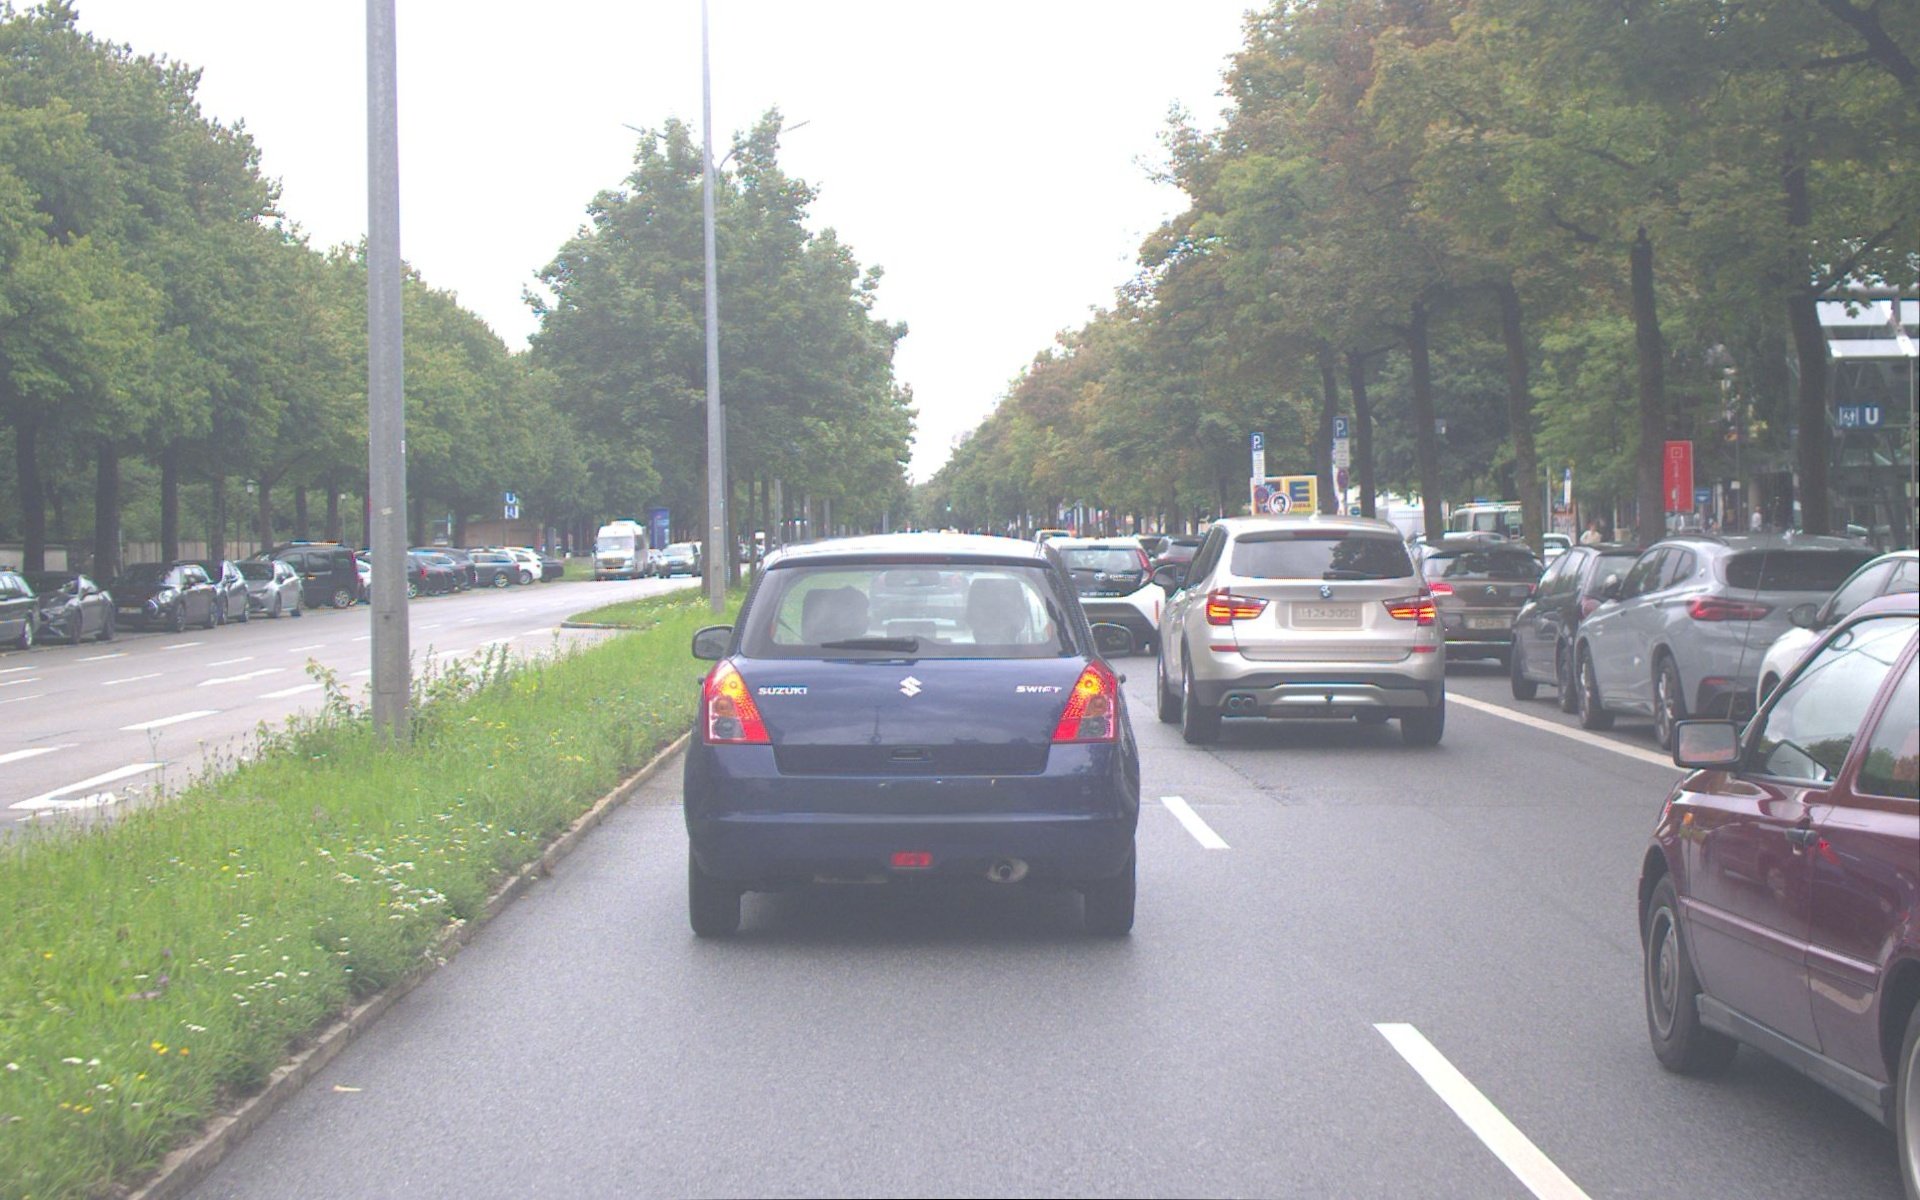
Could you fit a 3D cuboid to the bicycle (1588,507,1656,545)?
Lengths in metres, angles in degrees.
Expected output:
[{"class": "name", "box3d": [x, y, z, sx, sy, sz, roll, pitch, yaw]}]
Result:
[{"class": "bicycle", "box3d": [27.097, -3.046, 140.782, 2.609, 1.502, 0.798, -1, 1, -6]}]

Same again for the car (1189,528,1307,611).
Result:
[{"class": "car", "box3d": [5.186, -0.573, 62.313, 1.653, 1.429, 4.483, -1, 1, -1]}]

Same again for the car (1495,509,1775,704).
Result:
[{"class": "car", "box3d": [5.906, 0.013, 30.513, 1.542, 1.529, 4.091, 3, 1, -1]}]

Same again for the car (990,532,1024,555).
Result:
[{"class": "car", "box3d": [2.887, -3.508, 212.946, 1.850, 1.442, 4.098, -1, 1, -2]}]

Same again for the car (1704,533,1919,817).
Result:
[{"class": "car", "box3d": [5.884, 0.356, 20.682, 1.702, 1.503, 4.504, -1, 1, -2]}]

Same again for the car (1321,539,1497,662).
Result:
[{"class": "car", "box3d": [5.636, -0.034, 43.560, 1.634, 1.448, 4.078, -1, 1, -1]}]

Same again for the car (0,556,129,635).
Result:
[{"class": "car", "box3d": [-17.171, -0.118, 65.360, 1.659, 1.391, 4.707, 0, 1, -1]}]

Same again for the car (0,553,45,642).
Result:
[{"class": "car", "box3d": [-17.316, -0.041, 59.313, 1.799, 1.485, 4.915, 0, 1, -1]}]

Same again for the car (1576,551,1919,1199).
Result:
[{"class": "car", "box3d": [2.687, 0.621, 8.249, 1.622, 1.449, 3.950, -1, 1, -1]}]

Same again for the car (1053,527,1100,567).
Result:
[{"class": "car", "box3d": [4.507, -2.057, 133.451, 1.684, 1.520, 4.456, 1, 1, 0]}]

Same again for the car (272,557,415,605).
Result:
[{"class": "car", "box3d": [-19.074, -0.596, 106.426, 4.031, 1.377, 1.674, -2, 1, -36]}]

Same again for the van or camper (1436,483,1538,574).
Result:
[{"class": "van or camper", "box3d": [15.369, -2.096, 100.528, 1.993, 2.549, 5.957, -1, 1, 0]}]

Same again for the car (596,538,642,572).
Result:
[{"class": "car", "box3d": [-16.366, -2.180, 165.085, 1.913, 1.537, 4.188, -1, 1, -2]}]

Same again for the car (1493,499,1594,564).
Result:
[{"class": "car", "box3d": [15.617, -1.839, 92.148, 1.993, 1.645, 4.000, -1, 1, 0]}]

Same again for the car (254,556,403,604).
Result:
[{"class": "car", "box3d": [-19.003, -0.612, 103.504, 3.988, 1.349, 1.850, -2, 1, -35]}]

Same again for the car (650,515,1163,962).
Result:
[{"class": "car", "box3d": [-0.261, 0.448, 14.135, 1.789, 1.550, 4.001, -1, 1, -2]}]

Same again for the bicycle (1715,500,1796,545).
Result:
[{"class": "bicycle", "box3d": [27.564, -2.682, 119.116, 2.609, 1.502, 0.798, -1, 1, -14]}]

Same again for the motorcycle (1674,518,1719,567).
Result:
[{"class": "motorcycle", "box3d": [20.601, -1.620, 96.172, 0.696, 1.286, 2.066, -5, 1, -1]}]

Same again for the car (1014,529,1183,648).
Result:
[{"class": "car", "box3d": [1.739, -0.184, 44.434, 1.850, 1.442, 4.098, -1, 1, -2]}]

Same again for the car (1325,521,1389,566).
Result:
[{"class": "car", "box3d": [14.837, -2.112, 128.707, 1.684, 1.627, 4.499, -1, 1, -2]}]

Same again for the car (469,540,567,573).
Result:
[{"class": "car", "box3d": [-20.111, -1.976, 156.361, 4.095, 1.469, 1.705, -1, 1, -34]}]

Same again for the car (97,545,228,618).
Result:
[{"class": "car", "box3d": [-17.078, -0.420, 73.782, 1.571, 1.498, 4.303, 0, 1, 3]}]

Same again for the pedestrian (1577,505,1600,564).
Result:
[{"class": "pedestrian", "box3d": [18.866, -1.972, 103.157, 0.575, 1.745, 0.732, -1, 1, 4]}]

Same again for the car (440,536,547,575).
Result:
[{"class": "car", "box3d": [-19.975, -1.903, 147.385, 4.095, 1.579, 1.919, -2, 1, -34]}]

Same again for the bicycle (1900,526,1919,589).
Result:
[{"class": "bicycle", "box3d": [17.726, -0.761, 59.865, 2.542, 1.085, 0.647, -1, 1, 0]}]

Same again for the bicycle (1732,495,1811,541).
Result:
[{"class": "bicycle", "box3d": [27.387, -2.779, 116.039, 2.609, 1.502, 0.798, -2, 1, -22]}]

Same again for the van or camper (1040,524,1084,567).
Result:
[{"class": "van or camper", "box3d": [4.775, -2.554, 161.147, 1.944, 1.968, 4.306, -1, 1, 0]}]

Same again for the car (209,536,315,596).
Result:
[{"class": "car", "box3d": [-17.428, -0.875, 86.069, 1.636, 1.434, 4.809, 0, 1, 1]}]

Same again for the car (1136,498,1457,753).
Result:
[{"class": "car", "box3d": [2.440, 0.133, 25.870, 1.850, 1.737, 4.098, -1, 1, -2]}]

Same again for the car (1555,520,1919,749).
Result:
[{"class": "car", "box3d": [5.671, 0.189, 25.381, 1.720, 1.529, 4.399, 0, 1, -1]}]

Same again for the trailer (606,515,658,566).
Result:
[{"class": "trailer", "box3d": [-16.637, -3.022, 174.478, 2.106, 2.531, 5.577, -1, 1, 0]}]

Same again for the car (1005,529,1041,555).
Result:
[{"class": "car", "box3d": [3.615, -3.360, 199.100, 1.850, 1.442, 4.098, -1, 1, -2]}]

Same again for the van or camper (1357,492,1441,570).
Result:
[{"class": "van or camper", "box3d": [14.921, -2.351, 117.222, 2.024, 2.549, 5.957, -1, 1, 0]}]

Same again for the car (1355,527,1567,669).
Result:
[{"class": "car", "box3d": [5.616, -0.063, 38.980, 1.717, 1.503, 4.224, -1, 1, -1]}]

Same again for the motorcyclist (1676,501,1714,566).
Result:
[{"class": "motorcyclist", "box3d": [20.575, -1.862, 96.212, 0.691, 1.731, 0.953, -5, 1, 0]}]

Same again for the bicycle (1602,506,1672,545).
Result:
[{"class": "bicycle", "box3d": [26.935, -2.963, 136.768, 2.609, 1.502, 0.798, -1, 1, -6]}]

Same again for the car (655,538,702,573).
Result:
[{"class": "car", "box3d": [-12.974, -2.066, 158.633, 1.913, 1.537, 4.188, -1, 1, -2]}]
